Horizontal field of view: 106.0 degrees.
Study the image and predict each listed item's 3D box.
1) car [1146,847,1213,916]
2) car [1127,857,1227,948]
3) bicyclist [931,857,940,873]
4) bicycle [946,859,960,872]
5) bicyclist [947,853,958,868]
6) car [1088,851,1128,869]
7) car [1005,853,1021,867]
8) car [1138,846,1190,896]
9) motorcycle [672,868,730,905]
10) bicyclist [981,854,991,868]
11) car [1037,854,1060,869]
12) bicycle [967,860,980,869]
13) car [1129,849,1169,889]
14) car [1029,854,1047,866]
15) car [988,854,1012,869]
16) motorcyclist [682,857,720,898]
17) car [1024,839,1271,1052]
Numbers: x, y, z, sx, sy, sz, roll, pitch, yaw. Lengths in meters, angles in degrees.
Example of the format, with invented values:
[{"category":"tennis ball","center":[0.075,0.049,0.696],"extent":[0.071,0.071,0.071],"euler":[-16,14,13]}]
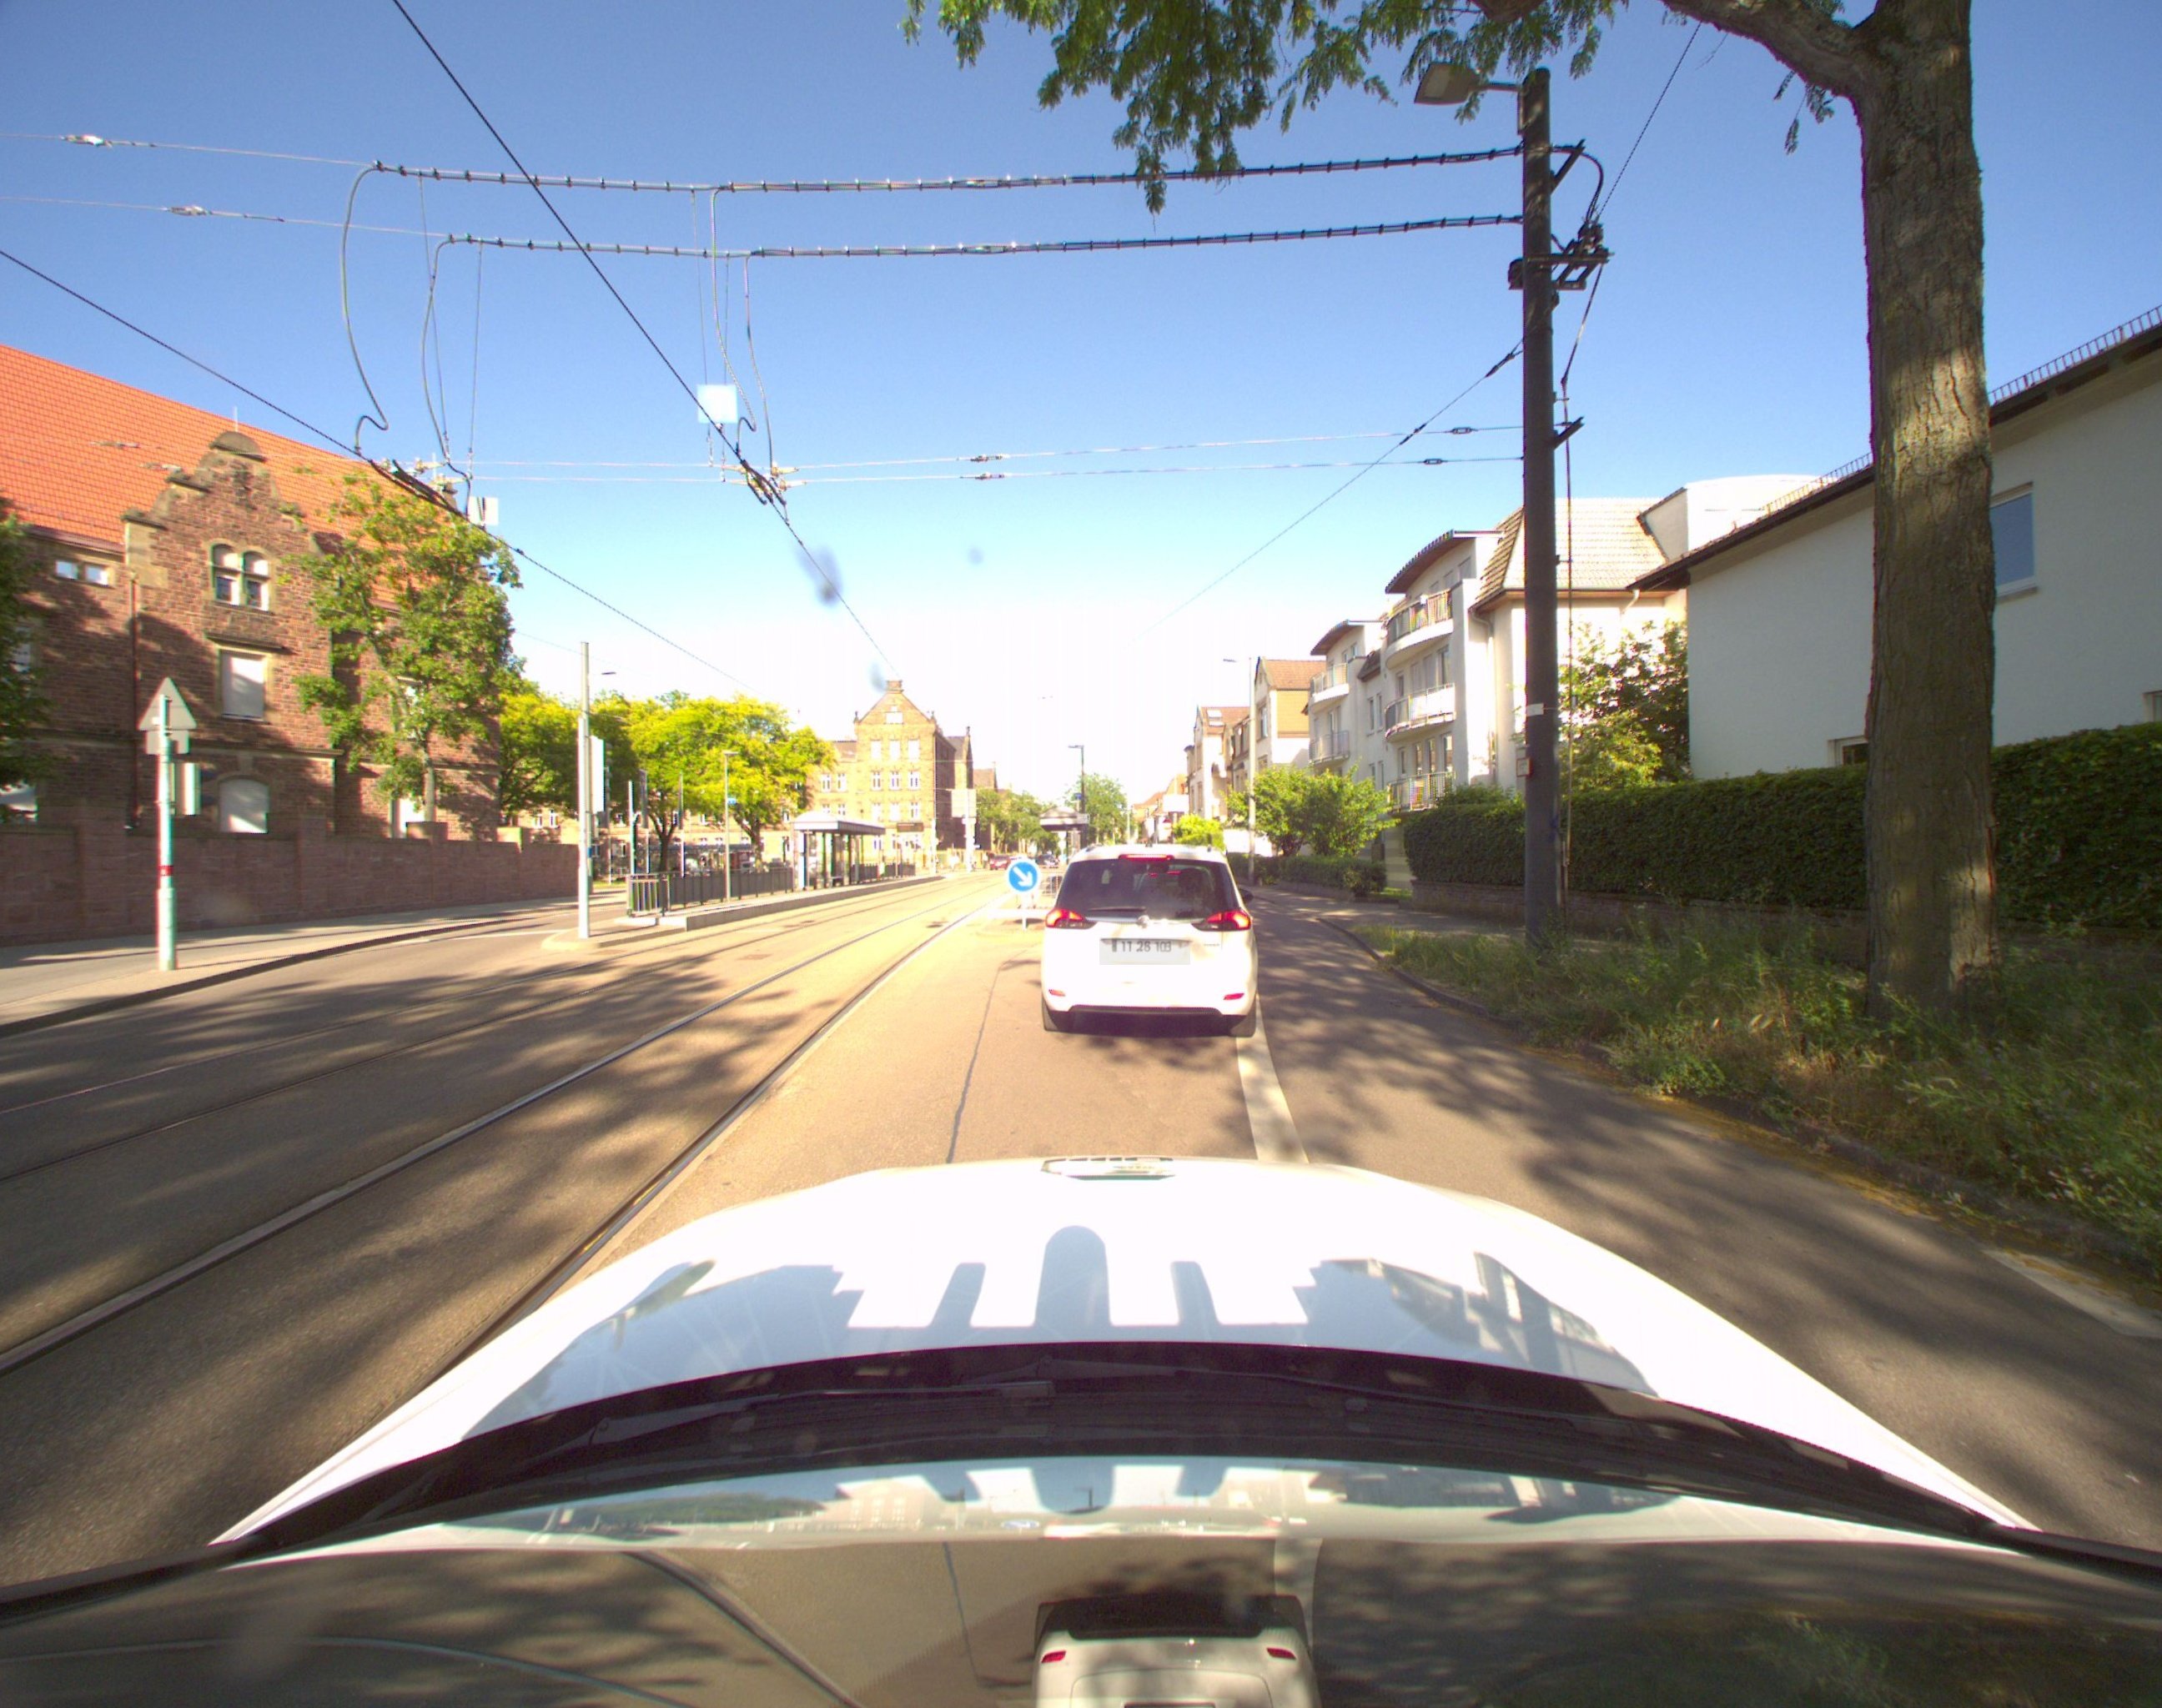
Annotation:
[{"category":"car","center":[2.562,0.644,21.115],"extent":[1.560,1.614,3.792],"euler":[1,0,7]},{"category":"car","center":[1.774,0.778,14.877],"extent":[1.560,1.401,3.792],"euler":[1,0,7]},{"category":"bicyclist","center":[-14.030,1.048,78.546],"extent":[0.652,1.459,1.150],"euler":[-1,0,-5]},{"category":"bicycle","center":[-13.297,1.212,84.743],"extent":[0.809,1.199,1.959],"euler":[-2,-4,12]},{"category":"bicyclist","center":[-13.349,0.680,84.616],"extent":[0.751,1.471,1.194],"euler":[-2,-4,12]},{"category":"car","center":[2.822,0.638,86.344],"extent":[3.950,1.808,1.533],"euler":[-1,0,27]},{"category":"car","center":[-8.849,0.765,106.550],"extent":[1.692,1.809,4.001],"euler":[-1,0,1]},{"category":"car","center":[2.916,0.576,29.249],"extent":[1.590,1.635,3.903],"euler":[1,0,2]},{"category":"motorcycle","center":[-13.153,1.096,28.264],"extent":[0.909,1.153,2.427],"euler":[-1,0,-1]},{"category":"bicyclist","center":[-10.841,0.796,92.760],"extent":[0.755,1.536,1.352],"euler":[0,0,12]},{"category":"car","center":[-3.683,0.816,92.385],"extent":[1.670,1.629,3.976],"euler":[-1,0,-17]},{"category":"bicycle","center":[-12.263,1.193,92.920],"extent":[0.664,1.072,2.023],"euler":[0,0,15]},{"category":"car","center":[2.988,0.632,36.351],"extent":[1.590,1.635,3.903],"euler":[1,0,2]},{"category":"car","center":[-5.784,0.824,109.417],"extent":[1.985,1.596,4.003],"euler":[-1,0,3]},{"category":"car","center":[-8.716,0.787,88.132],"extent":[1.809,1.607,4.365],"euler":[-1,0,5]},{"category":"motorcyclist","center":[-13.155,0.810,28.222],"extent":[0.887,1.383,0.907],"euler":[-1,0,-2]},{"category":"car","center":[0.752,0.678,8.208],"extent":[1.868,1.585,4.008],"euler":[1,0,7]}]
